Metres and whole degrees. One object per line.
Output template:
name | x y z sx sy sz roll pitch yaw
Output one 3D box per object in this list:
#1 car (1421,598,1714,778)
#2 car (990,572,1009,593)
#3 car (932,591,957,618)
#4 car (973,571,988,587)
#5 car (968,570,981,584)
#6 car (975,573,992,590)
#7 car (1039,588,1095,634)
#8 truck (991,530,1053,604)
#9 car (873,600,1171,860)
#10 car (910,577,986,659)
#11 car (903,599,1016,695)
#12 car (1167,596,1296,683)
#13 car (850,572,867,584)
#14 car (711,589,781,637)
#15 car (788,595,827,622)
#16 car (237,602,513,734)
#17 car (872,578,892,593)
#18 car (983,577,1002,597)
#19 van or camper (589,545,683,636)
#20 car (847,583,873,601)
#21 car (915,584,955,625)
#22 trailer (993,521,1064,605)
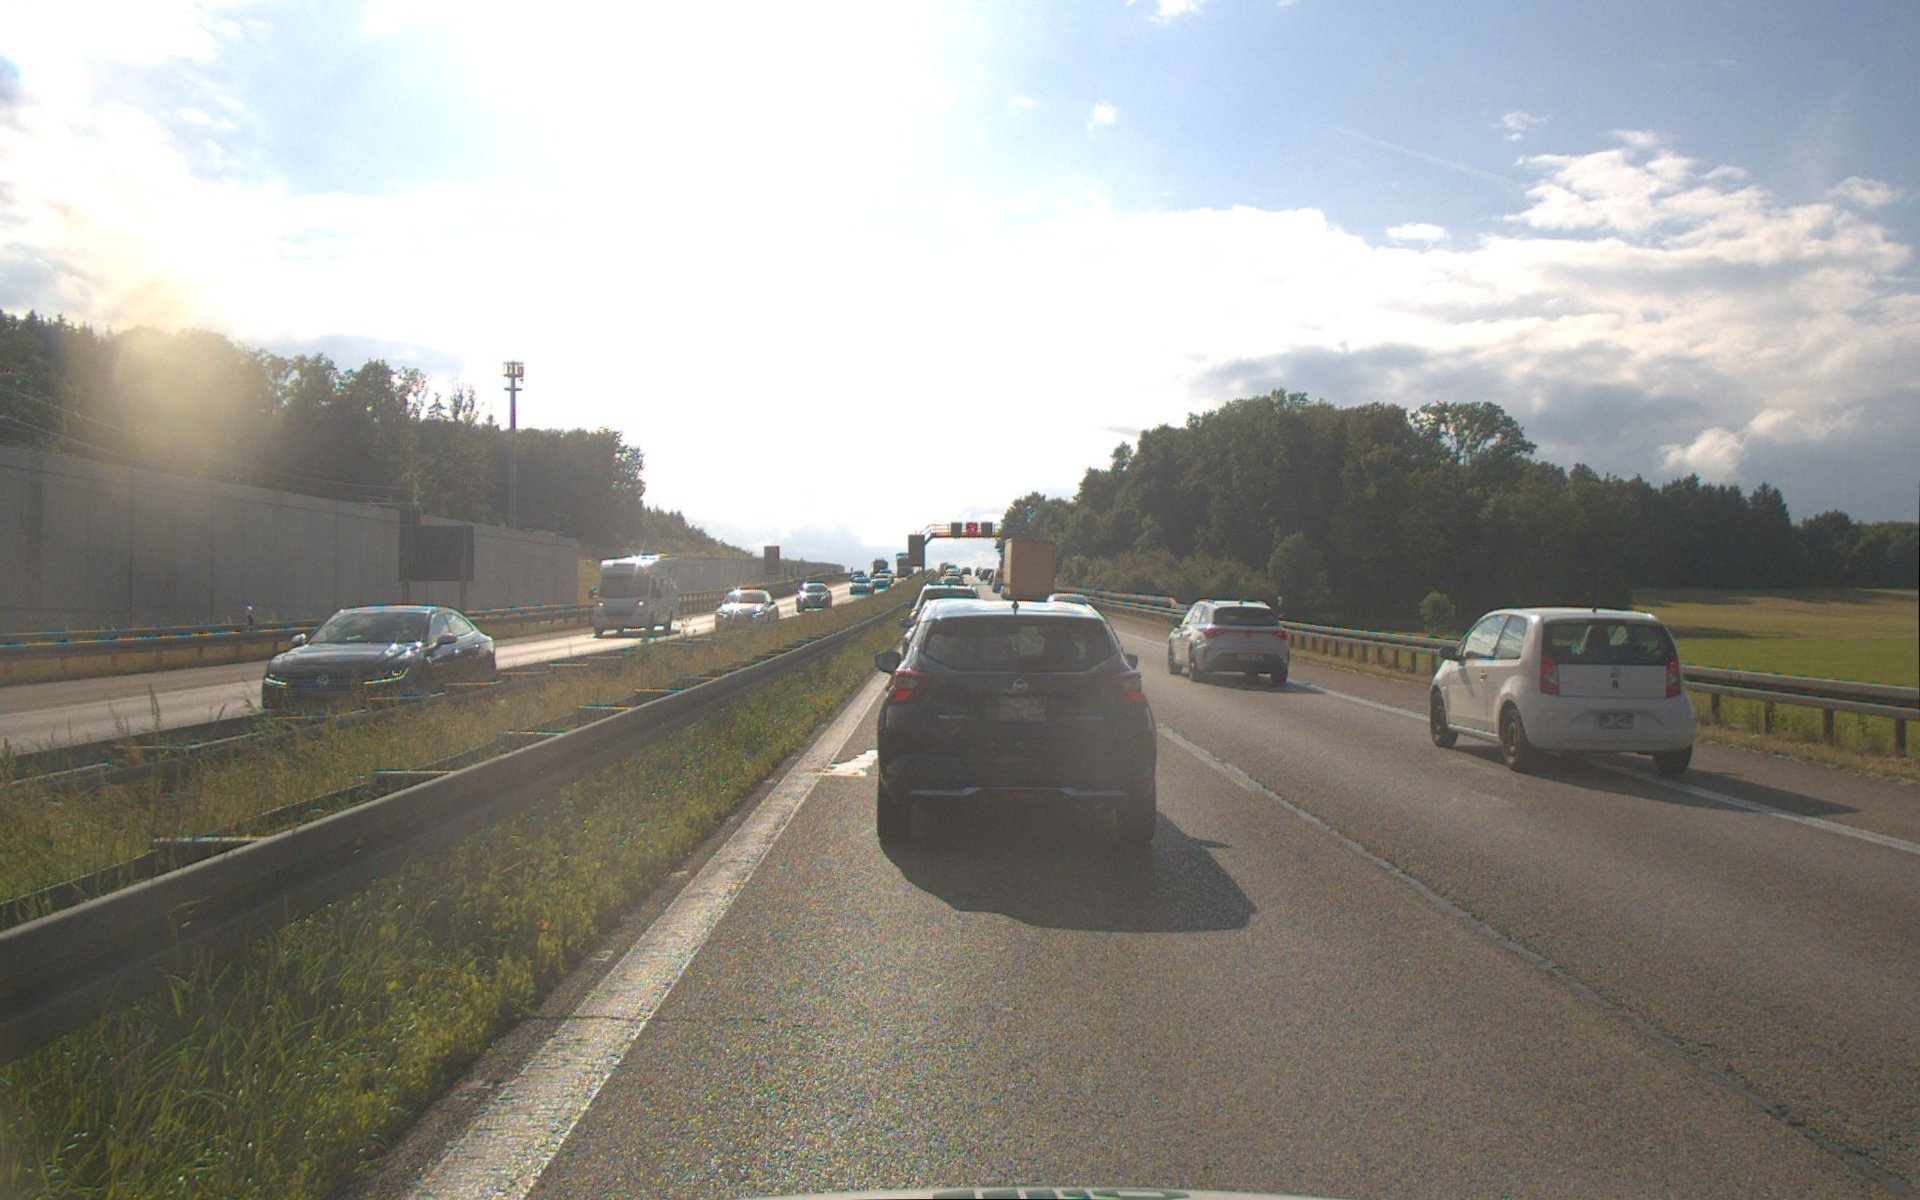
car | 5.766 0.768 16.090 1.517 1.521 3.377 1 0 -2
car | 3.534 -1.534 148.856 1.632 1.785 3.327 1 -1 1
car | -1.228 0.328 129.627 1.953 2.049 3.999 1 -1 -1
car | 2.730 -2.832 222.757 1.953 2.049 3.999 1 -1 -1
car | 2.186 -3.546 253.481 1.953 2.049 3.999 1 -1 -1
car | 2.948 -2.323 205.943 1.953 2.049 3.999 1 -1 -1
car | 3.661 0.385 57.145 1.711 1.501 4.147 1 -1 1
truck | 3.887 -1.999 105.011 3.509 4.456 6.686 1 -1 -1
car | 0.396 0.753 11.100 1.674 1.451 3.378 1 -1 1
car | -0.227 0.408 37.850 1.639 1.756 3.596 1 -1 1
car | 0.021 0.709 26.253 1.639 1.391 3.596 1 -1 1
car | 4.942 0.697 30.550 1.588 1.471 4.145 1 -1 -2
car | -12.882 -2.828 210.924 1.953 1.458 4.448 1 0 -1
car | -7.569 0.460 58.822 1.953 1.621 4.448 1 0 -1
car | -8.586 0.503 93.555 1.816 1.458 4.448 1 0 -1
car | -7.247 0.789 21.015 1.953 1.458 4.448 1 0 -1
car | -8.033 -1.474 170.324 1.953 1.458 4.448 1 0 -1
car | 3.559 -1.426 182.590 1.953 2.049 3.999 1 -1 -1
van or camper | -11.805 -0.296 60.743 2.180 3.133 6.511 1 -1 -1
car | -8.524 -0.674 141.286 1.953 1.458 4.448 1 0 -1
car | -1.277 0.242 85.050 1.953 2.049 3.999 1 -1 -1
trailer | 3.950 -2.037 98.362 3.476 4.535 12.719 1 0 -1
